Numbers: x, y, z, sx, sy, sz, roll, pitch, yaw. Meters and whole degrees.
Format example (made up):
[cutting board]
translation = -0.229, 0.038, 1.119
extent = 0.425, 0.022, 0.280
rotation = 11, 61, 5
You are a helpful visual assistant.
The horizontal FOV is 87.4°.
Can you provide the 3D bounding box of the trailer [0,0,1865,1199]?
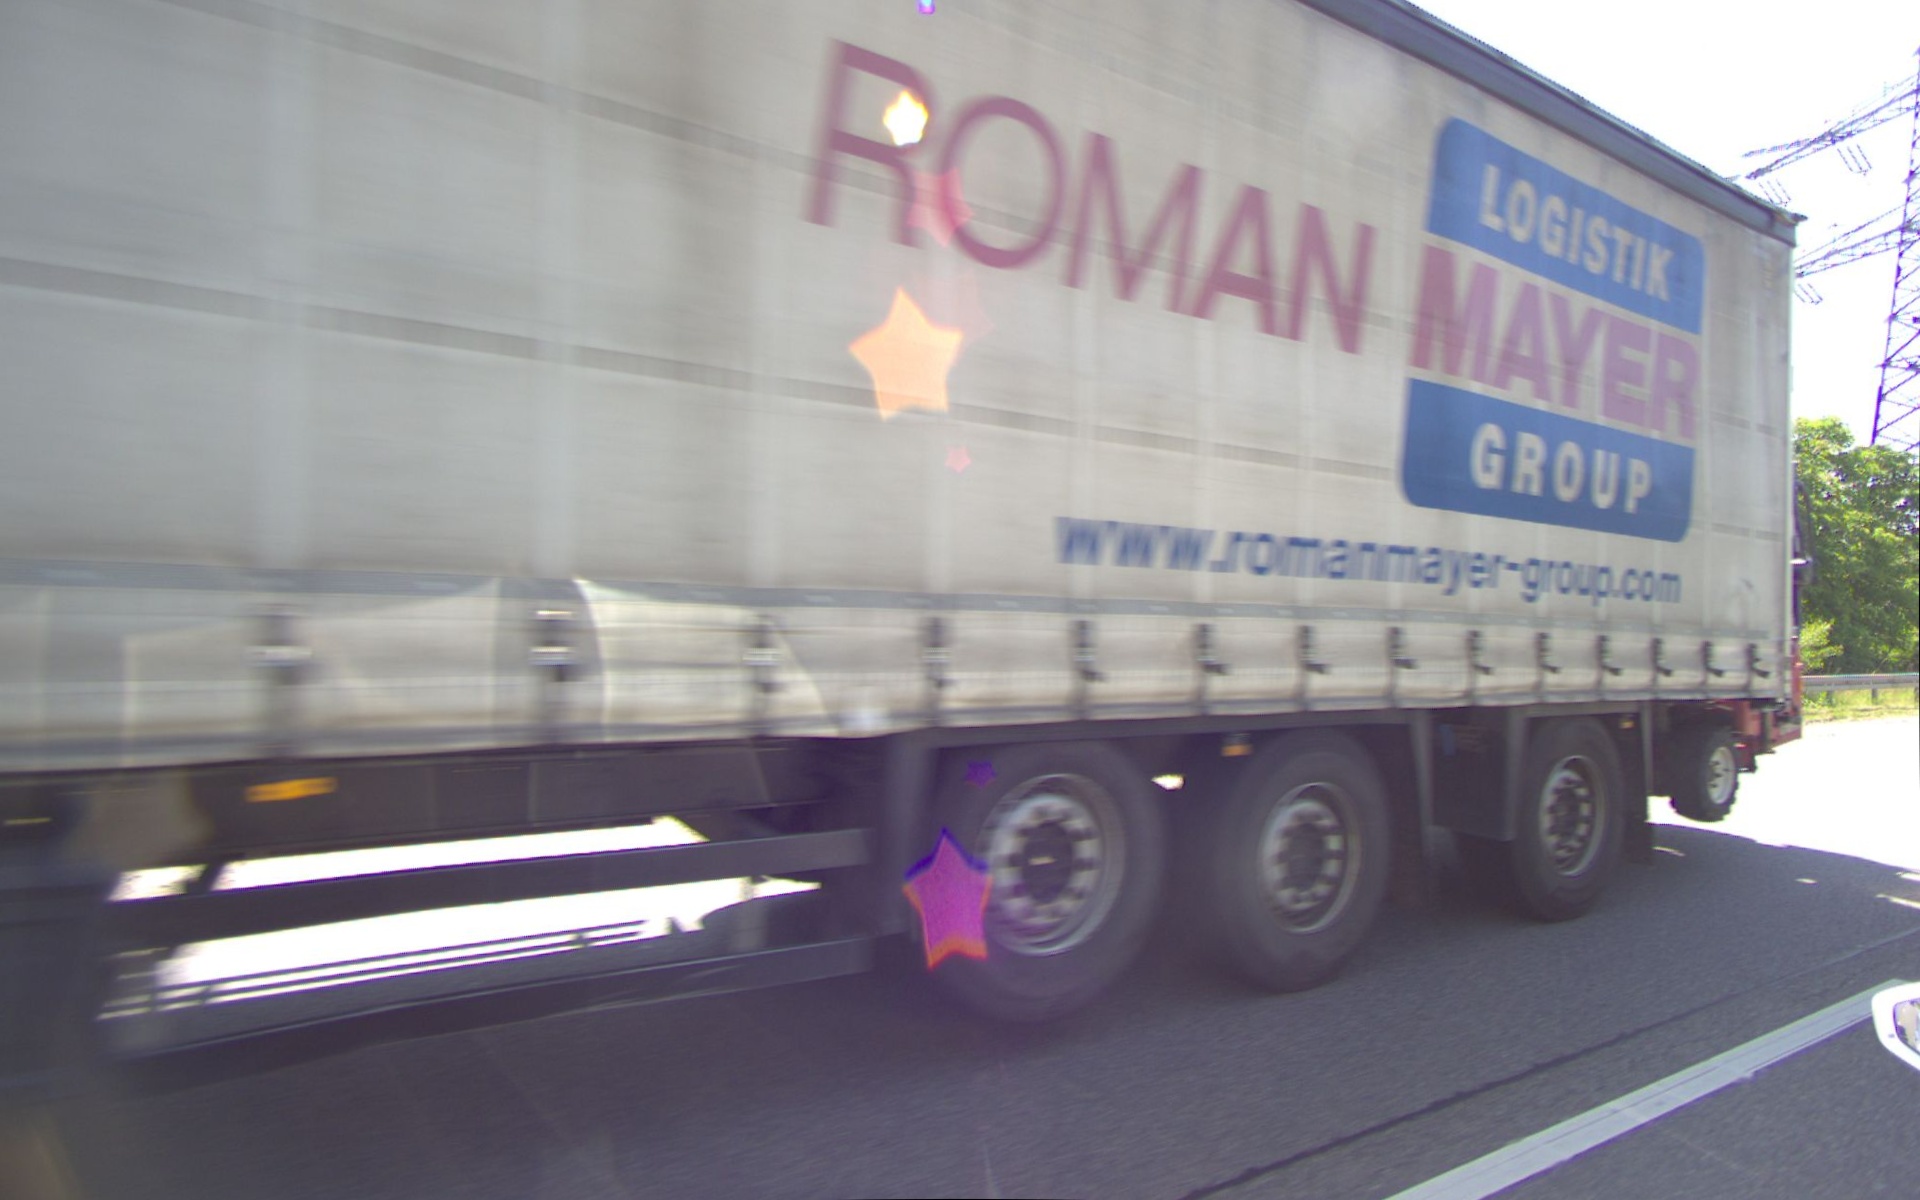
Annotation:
[trailer]
translation = -0.826, -0.574, 4.030
extent = 13.527, 4.052, 2.749
rotation = 2, -1, -31
